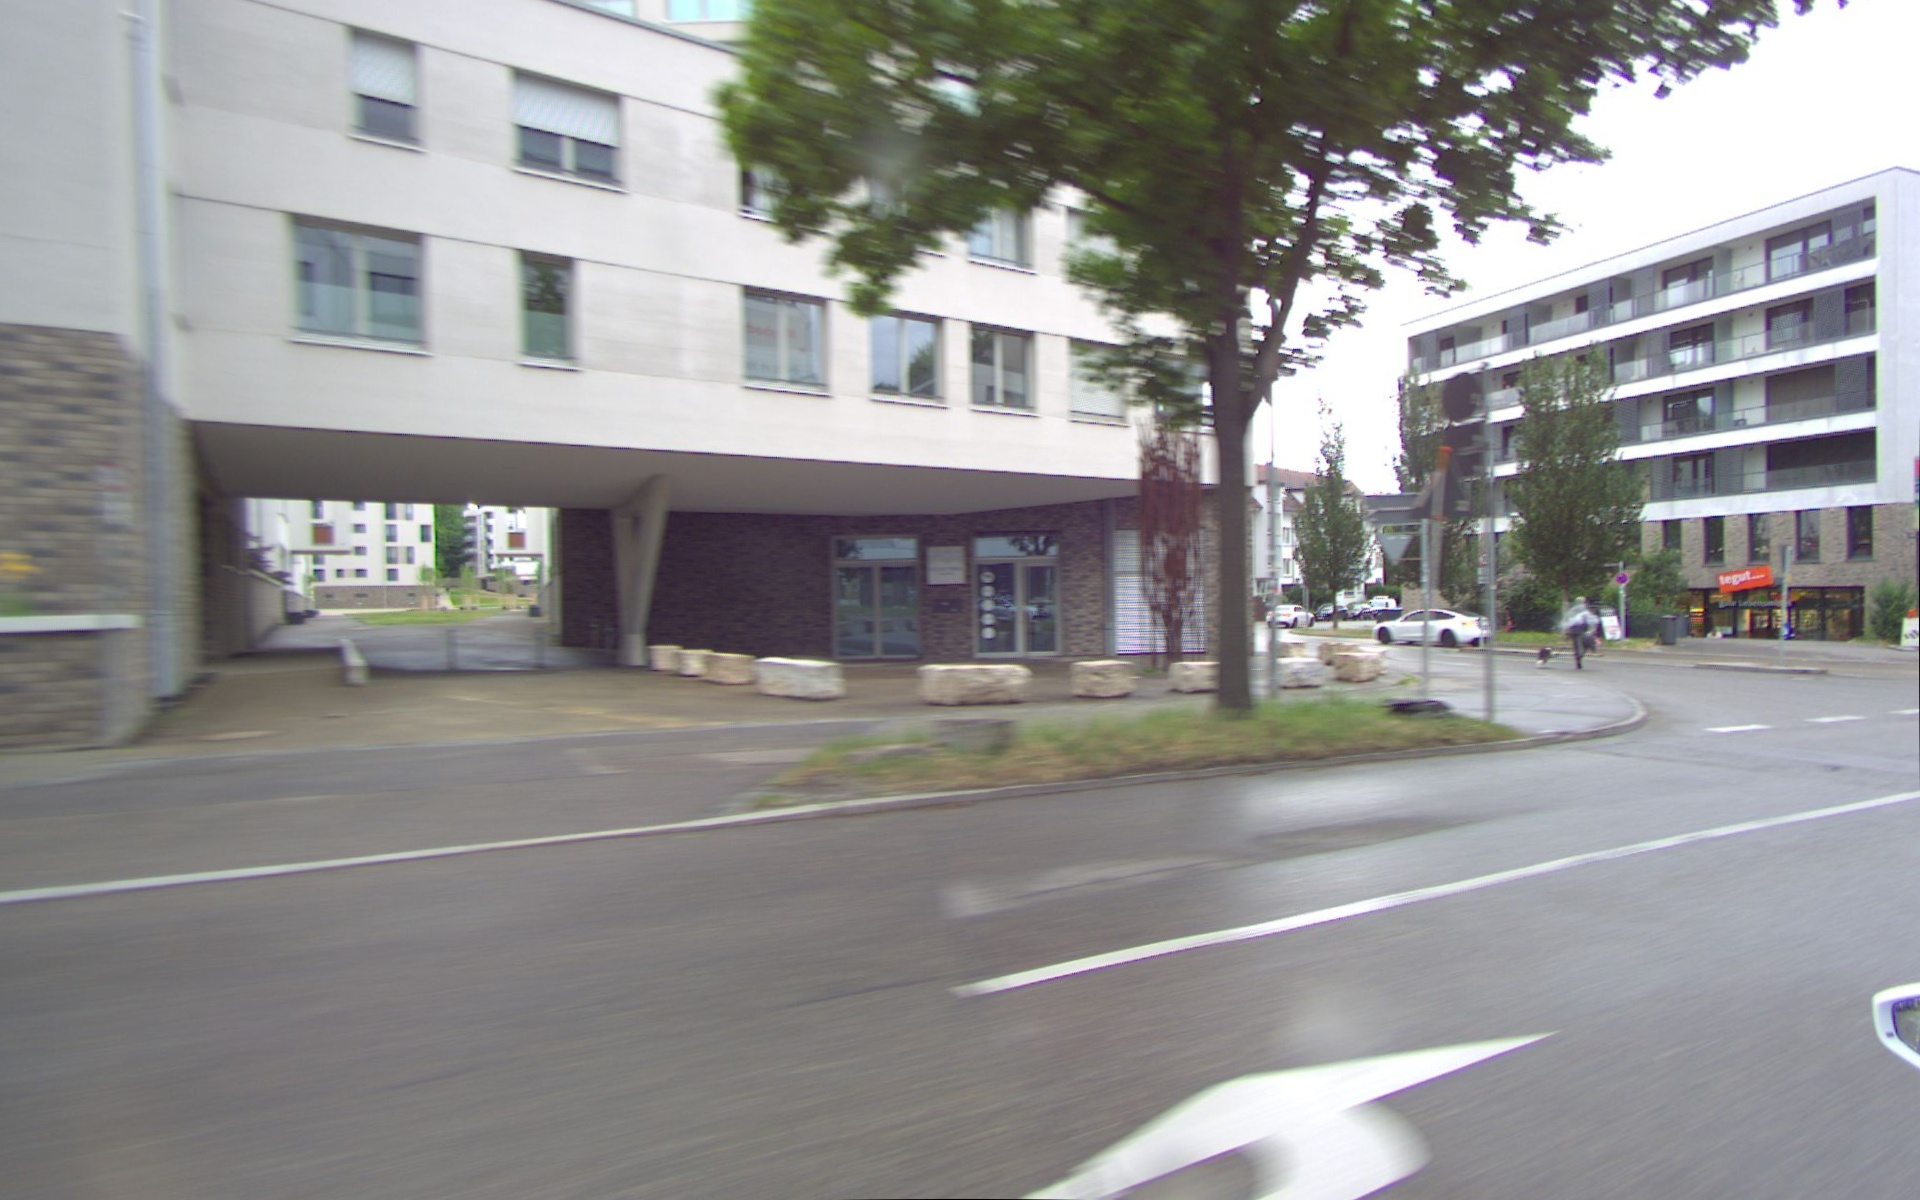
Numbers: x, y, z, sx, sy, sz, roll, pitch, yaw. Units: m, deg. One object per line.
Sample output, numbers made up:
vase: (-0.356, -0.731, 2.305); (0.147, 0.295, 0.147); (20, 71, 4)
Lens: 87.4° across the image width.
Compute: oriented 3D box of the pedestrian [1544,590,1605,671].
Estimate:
pedestrian: (16.197, 0.789, 26.477); (1.091, 2.040, 1.045); (1, 1, -42)

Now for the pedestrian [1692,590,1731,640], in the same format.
pedestrian: (31.215, 0.603, 41.748); (1.104, 2.041, 0.878); (0, 2, -30)

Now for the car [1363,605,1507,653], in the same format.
car: (18.398, 1.097, 39.164); (2.039, 1.683, 4.783); (1, 0, -29)

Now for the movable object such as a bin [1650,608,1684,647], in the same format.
movable object such as a bin: (25.722, 0.984, 36.524); (0.812, 1.381, 0.713); (0, 1, -27)
